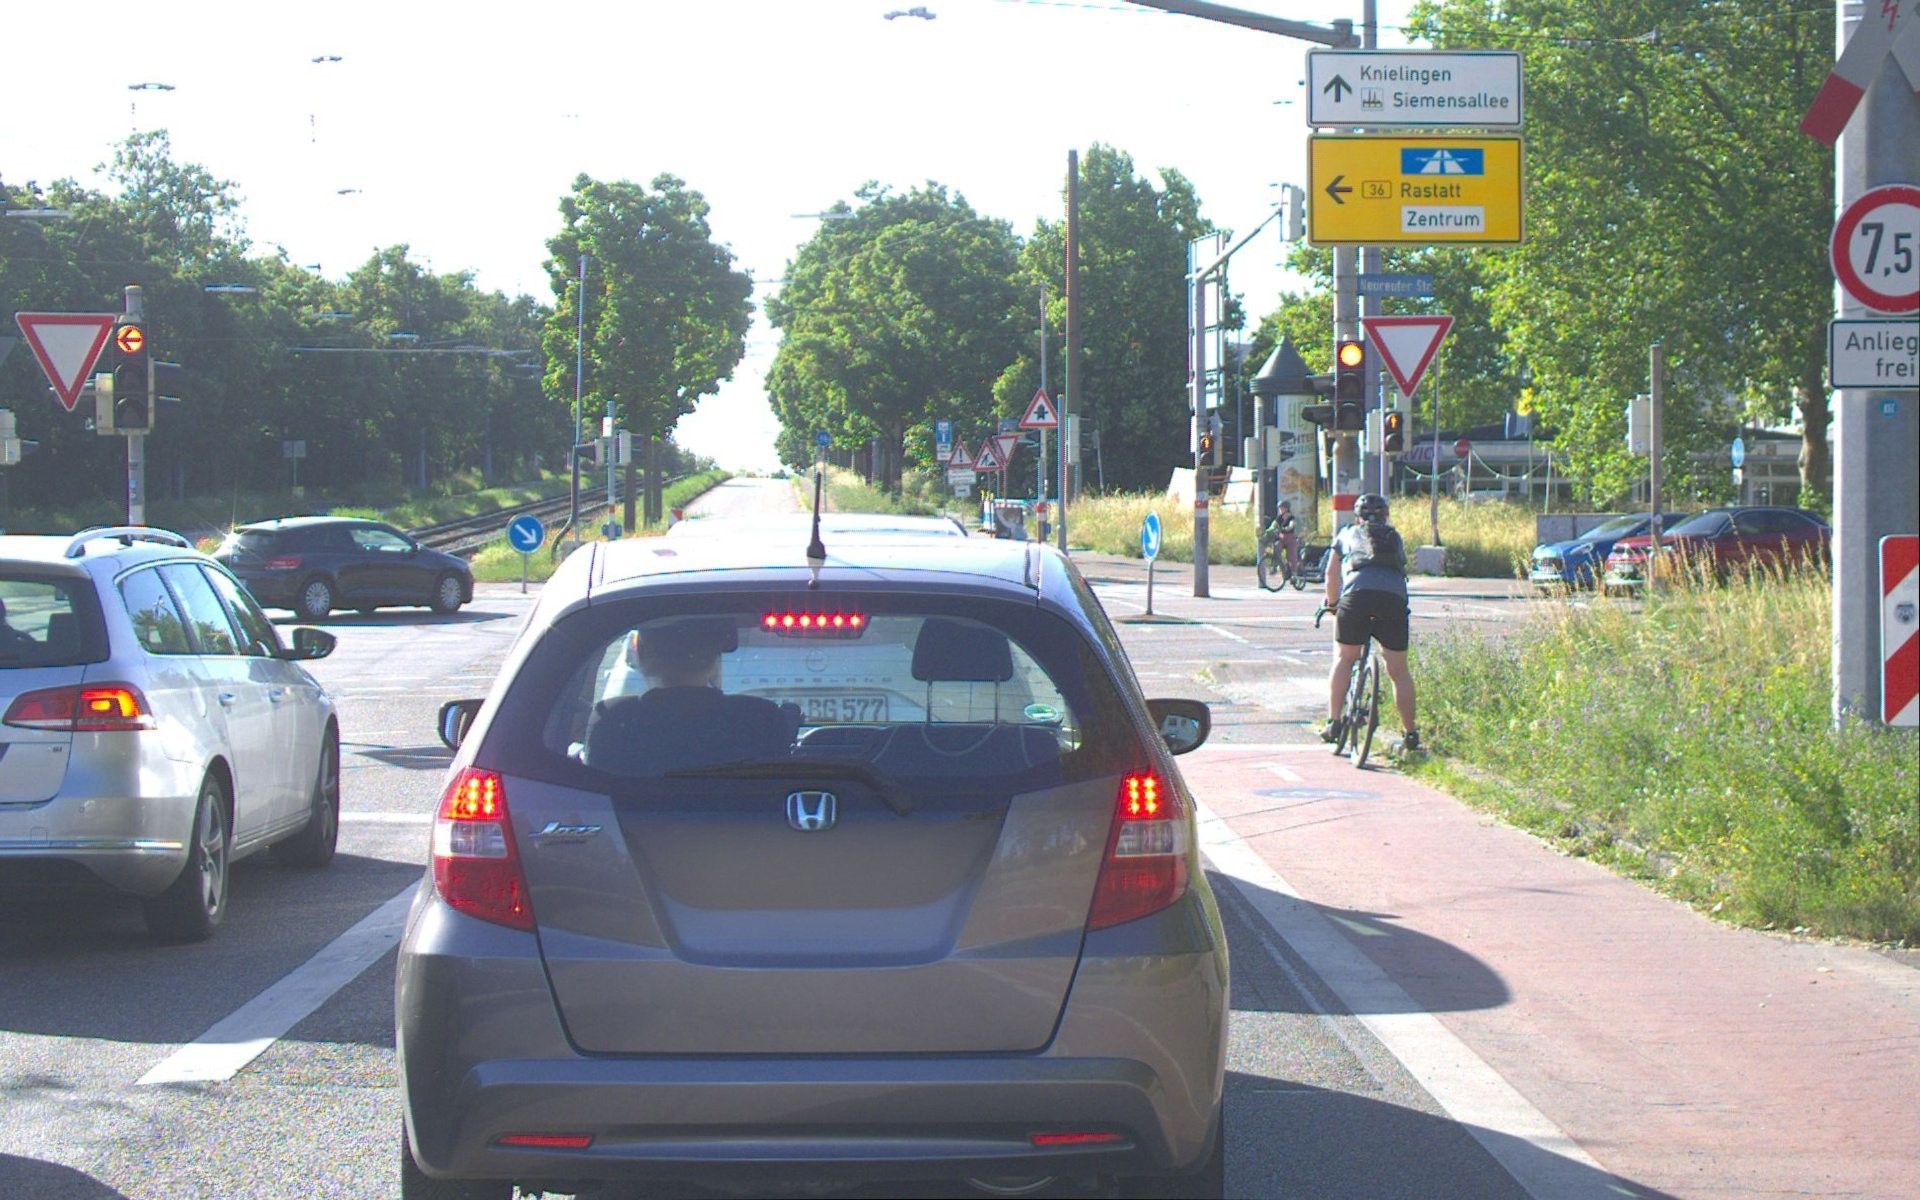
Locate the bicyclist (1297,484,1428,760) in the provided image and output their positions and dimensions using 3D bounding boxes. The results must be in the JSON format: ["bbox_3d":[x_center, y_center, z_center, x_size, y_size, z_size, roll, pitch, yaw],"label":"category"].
[{"bbox_3d":[2.557,0.131,21.915,0.666,1.710,0.948,1,1,-1],"label":"bicyclist"}]

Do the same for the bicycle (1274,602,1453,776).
[{"bbox_3d":[2.546,0.534,22.001,0.722,0.985,2.876,1,1,-1],"label":"bicycle"}]

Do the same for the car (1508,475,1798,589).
[{"bbox_3d":[12.294,-1.195,60.978,4.686,1.873,2.001,1,1,-23],"label":"car"}]

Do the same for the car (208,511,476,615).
[{"bbox_3d":[-8.456,-0.533,47.257,1.525,1.374,3.669,0,1,33],"label":"car"}]

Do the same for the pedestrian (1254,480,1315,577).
[{"bbox_3d":[6.163,-1.365,65.315,0.790,1.830,0.853,1,2,40],"label":"pedestrian"}]

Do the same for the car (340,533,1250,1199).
[{"bbox_3d":[-0.389,0.577,8.115,1.668,1.457,3.587,0,1,-3],"label":"car"}]

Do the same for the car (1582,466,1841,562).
[{"bbox_3d":[12.427,-1.428,56.858,3.986,1.525,1.606,-1,2,-23],"label":"car"}]

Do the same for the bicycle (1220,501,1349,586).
[{"bbox_3d":[6.192,-1.087,65.358,0.820,1.569,3.208,1,2,38],"label":"bicycle"}]

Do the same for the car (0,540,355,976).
[{"bbox_3d":[-3.522,0.495,13.535,1.619,1.452,4.085,1,1,-1],"label":"car"}]

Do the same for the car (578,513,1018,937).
[{"bbox_3d":[-0.637,0.416,14.750,1.611,1.557,4.288,0,1,-1],"label":"car"}]
